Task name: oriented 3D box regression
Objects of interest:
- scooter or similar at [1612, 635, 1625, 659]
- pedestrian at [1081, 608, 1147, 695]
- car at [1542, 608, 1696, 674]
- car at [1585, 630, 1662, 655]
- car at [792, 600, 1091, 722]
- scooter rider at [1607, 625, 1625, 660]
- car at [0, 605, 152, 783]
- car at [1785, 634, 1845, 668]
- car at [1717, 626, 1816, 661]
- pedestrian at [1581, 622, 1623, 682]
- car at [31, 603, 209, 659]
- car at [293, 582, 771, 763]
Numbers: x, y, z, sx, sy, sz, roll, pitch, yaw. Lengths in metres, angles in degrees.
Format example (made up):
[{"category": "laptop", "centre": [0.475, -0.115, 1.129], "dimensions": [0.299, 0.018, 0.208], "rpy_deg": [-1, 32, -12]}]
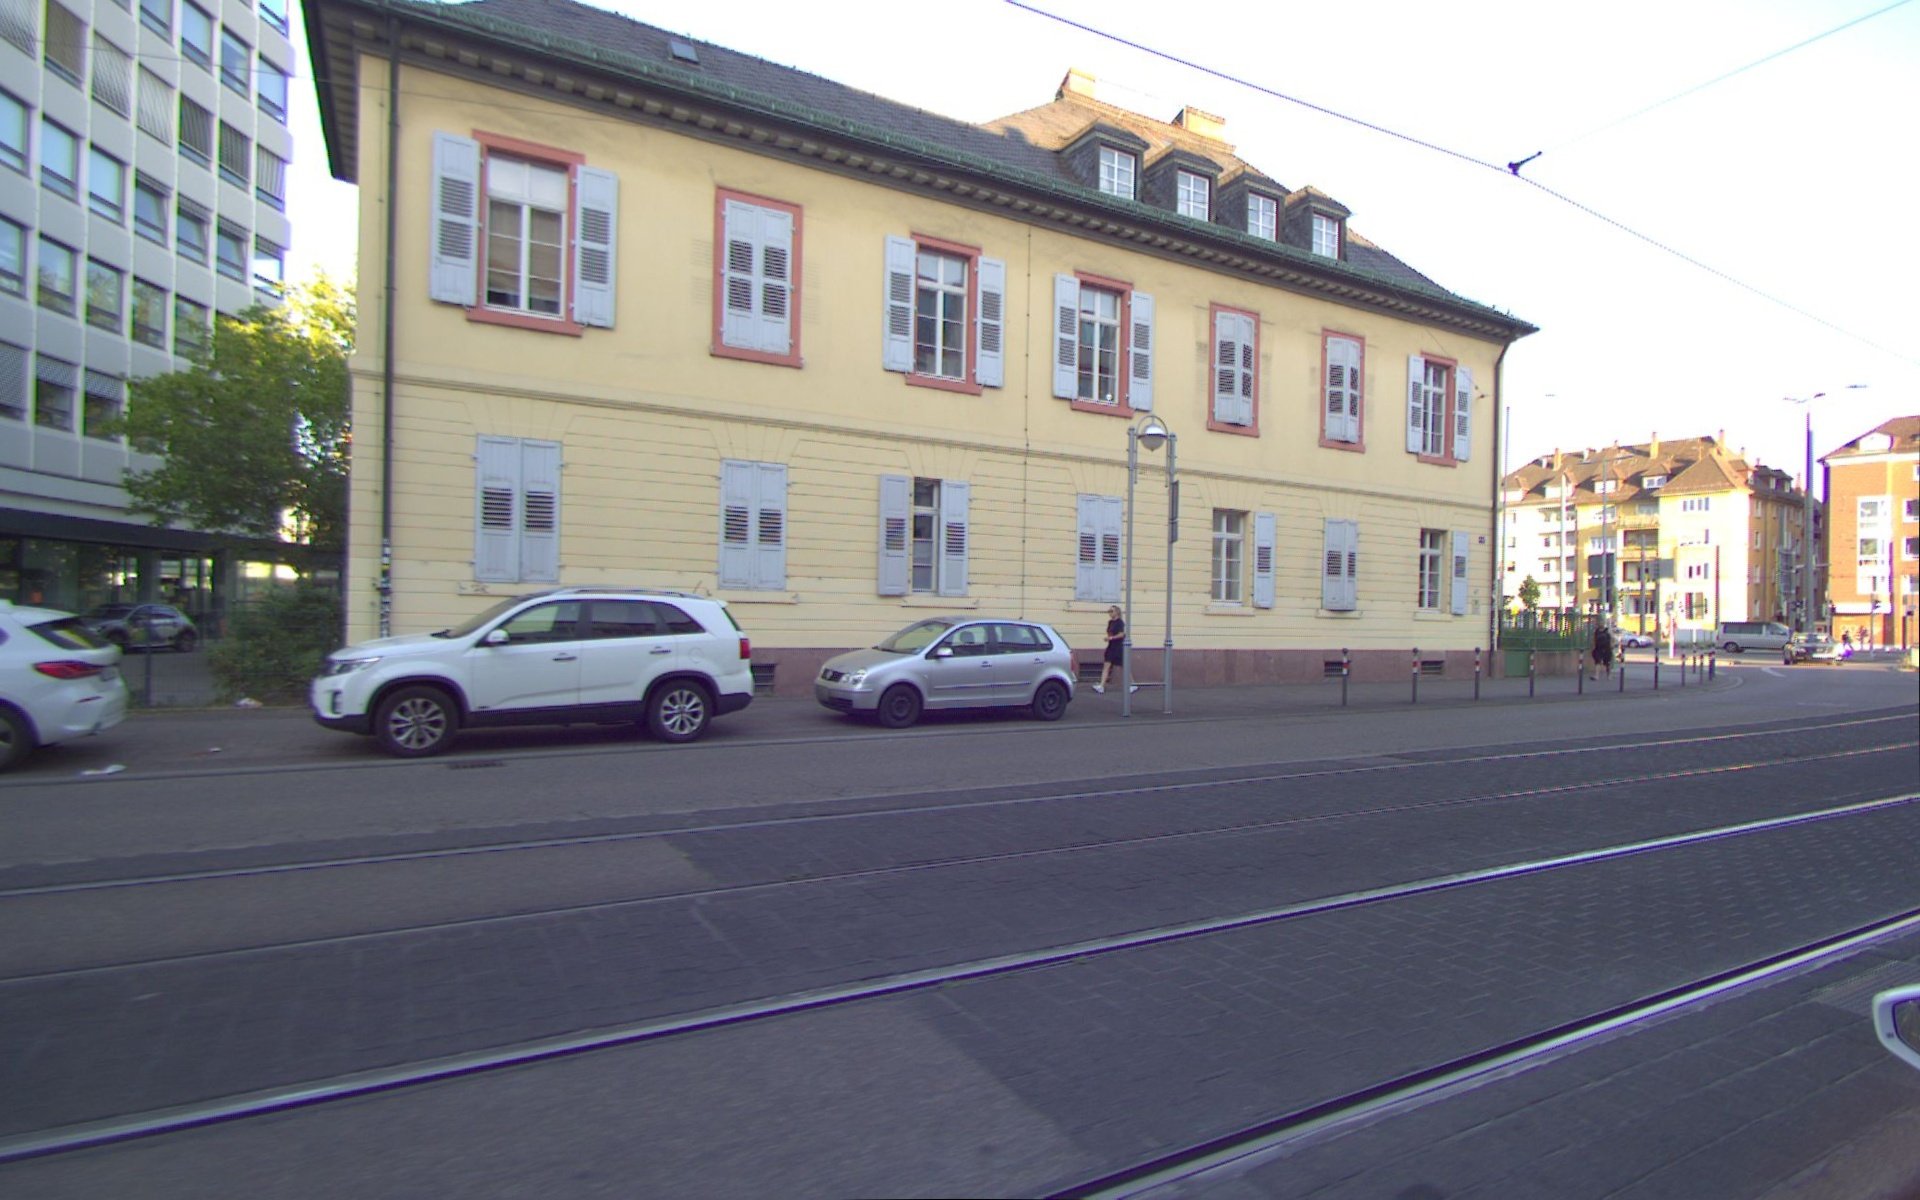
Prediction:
[{"category": "scooter or similar", "centre": [30.606, 2.175, 46.694], "dimensions": [0.420, 1.077, 1.618], "rpy_deg": [2, 1, 35]}, {"category": "pedestrian", "centre": [2.871, 0.949, 18.759], "dimensions": [0.866, 1.562, 0.796], "rpy_deg": [2, 1, -27]}, {"category": "car", "centre": [21.628, 1.304, 33.036], "dimensions": [3.946, 2.040, 1.987], "rpy_deg": [0, -1, 45]}, {"category": "car", "centre": [48.527, 3.095, 73.526], "dimensions": [1.981, 1.572, 4.307], "rpy_deg": [2, -1, -37]}, {"category": "car", "centre": [-0.235, 0.798, 14.421], "dimensions": [3.953, 1.494, 1.740], "rpy_deg": [1, 1, -30]}, {"category": "scooter rider", "centre": [30.787, 1.976, 47.160], "dimensions": [0.578, 1.614, 0.655], "rpy_deg": [3, 1, 40]}, {"category": "car", "centre": [-9.858, 0.787, 8.670], "dimensions": [4.233, 1.472, 1.712], "rpy_deg": [1, 1, -30]}, {"category": "car", "centre": [38.134, 2.259, 44.886], "dimensions": [1.744, 1.394, 4.207], "rpy_deg": [1, -1, 37]}, {"category": "car", "centre": [50.937, 2.731, 63.502], "dimensions": [1.984, 2.040, 4.645], "rpy_deg": [1, -1, -39]}, {"category": "pedestrian", "centre": [16.999, 1.373, 26.581], "dimensions": [0.712, 1.556, 0.715], "rpy_deg": [2, -1, -34]}, {"category": "car", "centre": [-24.050, 0.831, 28.967], "dimensions": [1.708, 1.418, 4.000], "rpy_deg": [2, 0, 1]}, {"category": "car", "centre": [-4.749, 0.721, 11.502], "dimensions": [4.708, 1.683, 1.876], "rpy_deg": [1, 1, -32]}]
